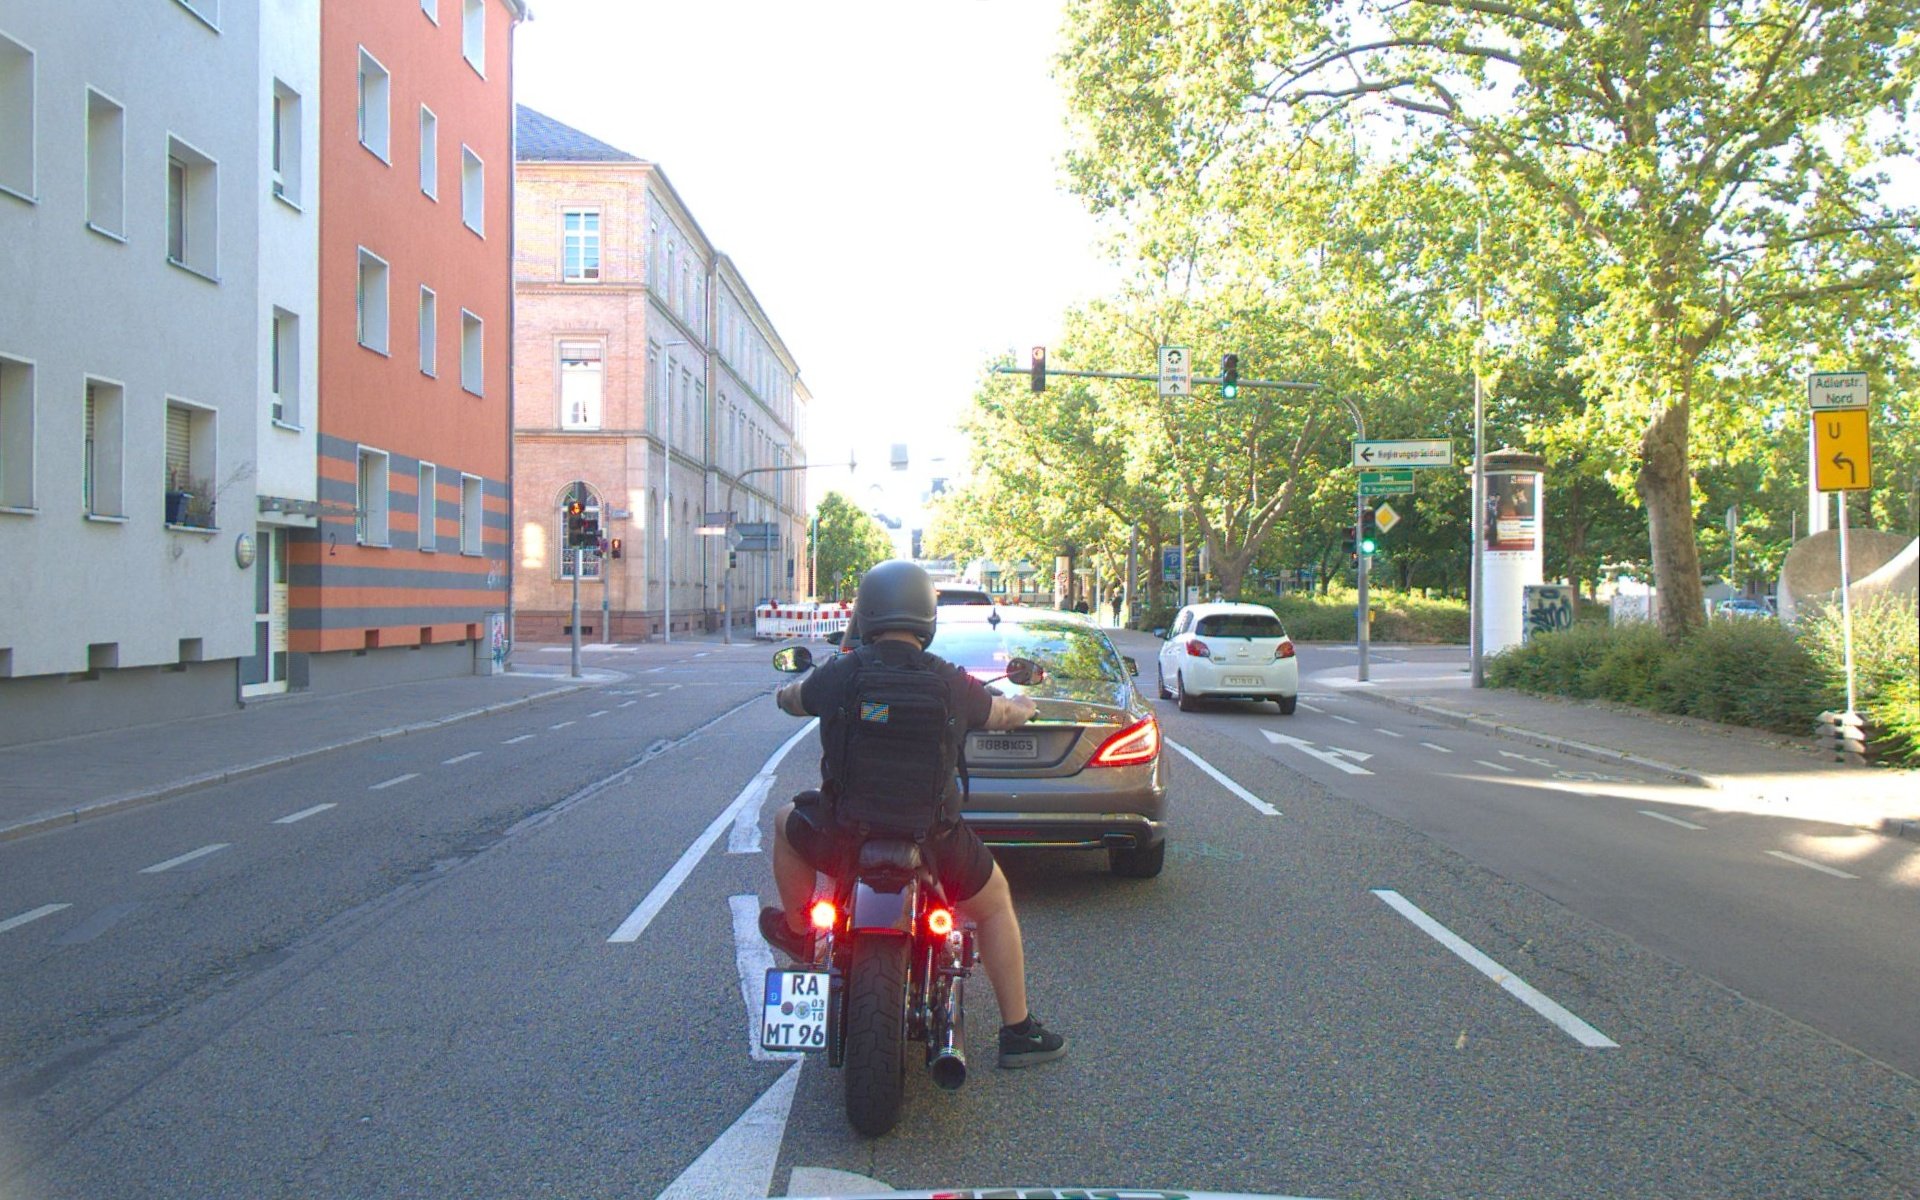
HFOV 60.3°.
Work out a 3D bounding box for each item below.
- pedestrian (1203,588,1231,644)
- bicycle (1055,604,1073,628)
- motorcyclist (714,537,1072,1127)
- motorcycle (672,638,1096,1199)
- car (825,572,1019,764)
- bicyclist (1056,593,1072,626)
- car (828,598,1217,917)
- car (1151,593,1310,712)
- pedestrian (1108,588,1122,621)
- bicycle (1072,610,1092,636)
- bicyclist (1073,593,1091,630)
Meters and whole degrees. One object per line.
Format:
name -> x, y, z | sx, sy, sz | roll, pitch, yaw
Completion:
pedestrian -> 8.285, 0.514, 53.320 | 0.566, 1.805, 0.618 | 2, -1, -35
bicycle -> 5.059, 0.772, 80.427 | 0.643, 1.131, 2.185 | 2, 0, -1
motorcyclist -> -0.197, 0.639, 5.293 | 0.991, 1.630, 1.406 | 0, 0, -1
motorcycle -> -0.198, 0.819, 5.209 | 0.991, 1.329, 2.672 | 0, 0, -1
car -> -0.488, 0.613, 16.702 | 1.599, 1.679, 3.845 | 2, 0, -6
bicyclist -> 5.065, 0.464, 80.482 | 0.643, 1.557, 0.906 | 2, 0, -1
car -> 0.260, 0.731, 9.577 | 1.791, 1.445, 3.814 | 1, 0, -1
car -> 3.800, 0.701, 23.774 | 1.644, 1.524, 3.685 | 2, 0, 0
pedestrian -> 7.698, 0.210, 82.237 | 0.580, 1.606, 0.527 | 2, -1, -1
bicycle -> 5.165, 0.967, 70.222 | 0.643, 1.089, 1.926 | 2, 0, -1
bicyclist -> 5.178, 0.475, 70.210 | 0.643, 1.557, 0.852 | 2, 0, -1
